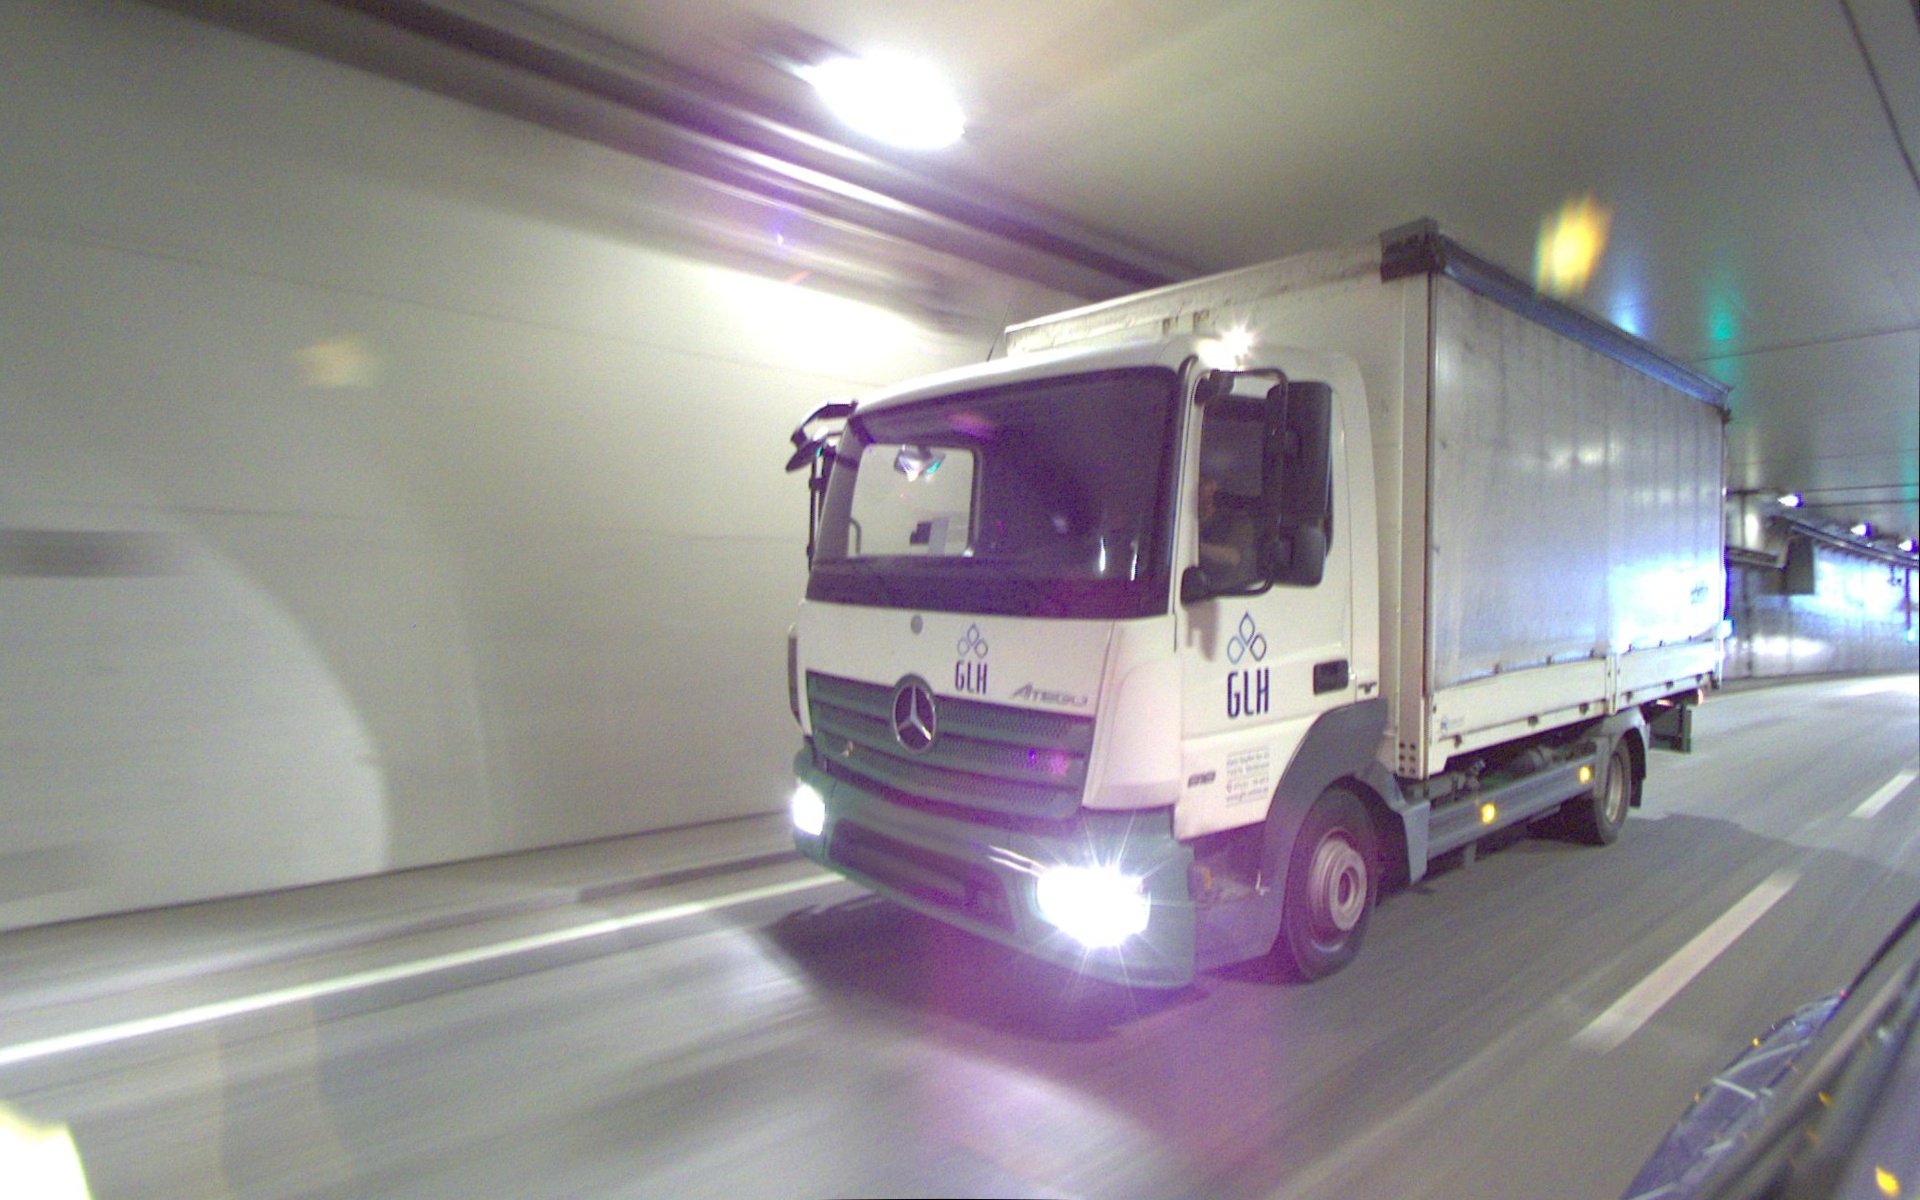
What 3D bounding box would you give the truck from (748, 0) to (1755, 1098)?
[{"bbox_3d":[2.495,-0.133,6.275,7.118,3.222,2.557,1,-1,-41],"label":"truck"}]
